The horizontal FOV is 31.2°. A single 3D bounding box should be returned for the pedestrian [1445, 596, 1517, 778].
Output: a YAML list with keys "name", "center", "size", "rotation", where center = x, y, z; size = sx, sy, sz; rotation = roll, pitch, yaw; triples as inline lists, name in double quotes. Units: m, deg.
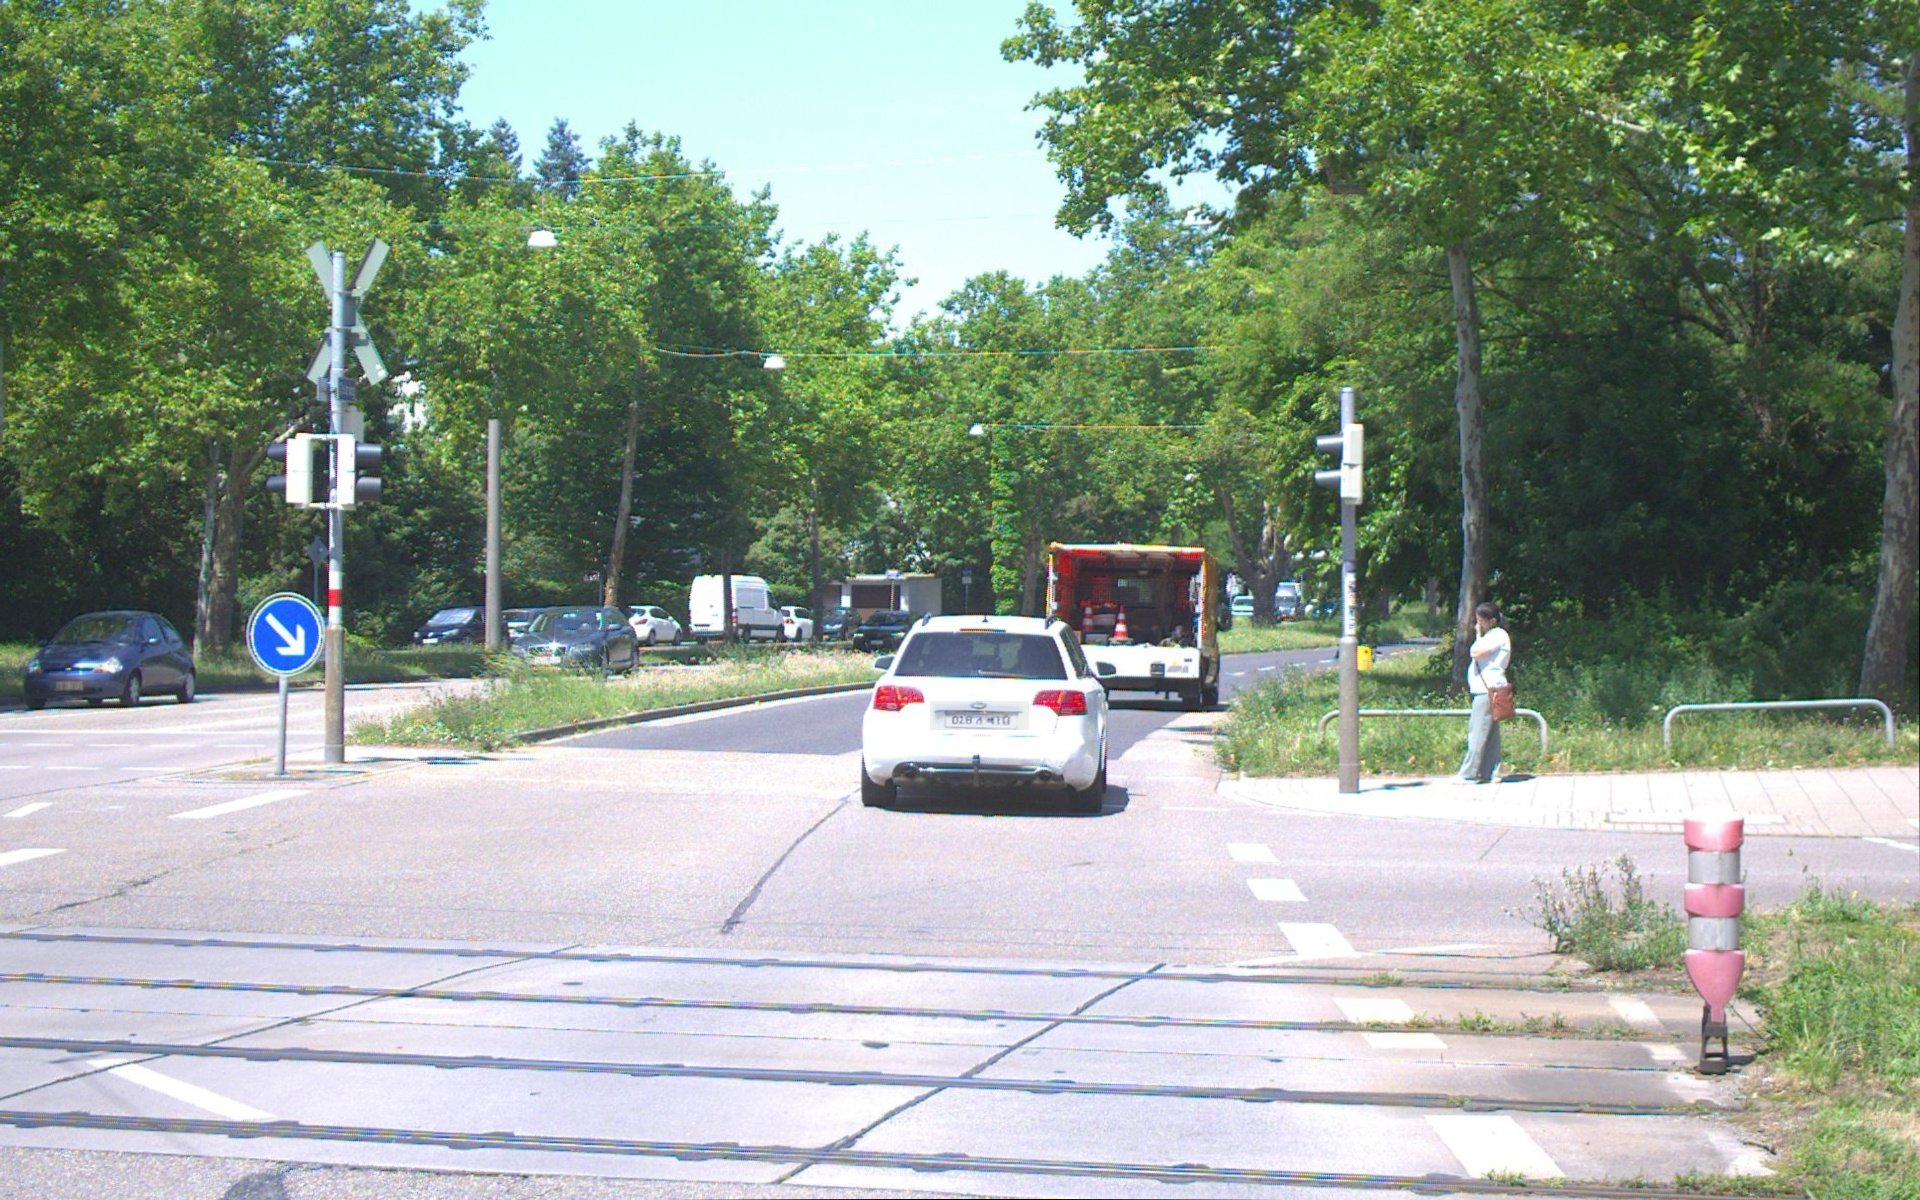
- name: "pedestrian"
  center: [4.329, 0.714, 28.555]
  size: [0.553, 1.479, 0.629]
  rotation: [1, 0, 11]

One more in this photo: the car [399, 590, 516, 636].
- name: "car"
  center: [-15.719, 0.392, 107.744]
  size: [1.883, 1.388, 3.996]
  rotation: [1, 0, 21]

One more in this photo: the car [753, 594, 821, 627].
- name: "car"
  center: [-6.940, 0.427, 138.208]
  size: [1.694, 1.279, 3.800]
  rotation: [1, 0, 14]

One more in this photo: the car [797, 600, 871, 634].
- name: "car"
  center: [-5.250, 0.697, 143.974]
  size: [1.830, 1.386, 3.943]
  rotation: [1, 0, 18]

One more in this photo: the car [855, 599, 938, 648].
- name: "car"
  center: [-2.007, 0.741, 109.452]
  size: [1.813, 1.501, 4.591]
  rotation: [0, 0, 10]

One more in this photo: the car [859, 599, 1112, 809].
- name: "car"
  center: [0.187, 0.729, 25.923]
  size: [1.762, 1.440, 3.616]
  rotation: [0, 0, 0]

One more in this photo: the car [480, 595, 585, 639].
- name: "car"
  center: [-14.072, 0.548, 113.306]
  size: [1.883, 1.371, 3.996]
  rotation: [1, 0, 18]

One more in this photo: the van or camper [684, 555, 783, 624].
- name: "van or camper"
  center: [-8.655, -0.421, 132.057]
  size: [2.184, 2.579, 5.305]
  rotation: [0, 0, 15]

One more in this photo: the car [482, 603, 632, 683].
- name: "car"
  center: [-7.410, 0.770, 63.574]
  size: [1.736, 1.390, 4.177]
  rotation: [-1, 0, 8]

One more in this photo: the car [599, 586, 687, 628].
- name: "car"
  center: [-11.328, 0.245, 123.056]
  size: [1.883, 1.469, 3.997]
  rotation: [1, 0, 14]

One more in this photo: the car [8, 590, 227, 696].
- name: "car"
  center: [-12.312, 0.599, 50.468]
  size: [1.721, 1.450, 3.867]
  rotation: [0, 0, 10]

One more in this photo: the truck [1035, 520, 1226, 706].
- name: "truck"
  center: [2.724, 0.123, 52.803]
  size: [2.511, 2.551, 7.602]
  rotation: [2, 1, 5]
